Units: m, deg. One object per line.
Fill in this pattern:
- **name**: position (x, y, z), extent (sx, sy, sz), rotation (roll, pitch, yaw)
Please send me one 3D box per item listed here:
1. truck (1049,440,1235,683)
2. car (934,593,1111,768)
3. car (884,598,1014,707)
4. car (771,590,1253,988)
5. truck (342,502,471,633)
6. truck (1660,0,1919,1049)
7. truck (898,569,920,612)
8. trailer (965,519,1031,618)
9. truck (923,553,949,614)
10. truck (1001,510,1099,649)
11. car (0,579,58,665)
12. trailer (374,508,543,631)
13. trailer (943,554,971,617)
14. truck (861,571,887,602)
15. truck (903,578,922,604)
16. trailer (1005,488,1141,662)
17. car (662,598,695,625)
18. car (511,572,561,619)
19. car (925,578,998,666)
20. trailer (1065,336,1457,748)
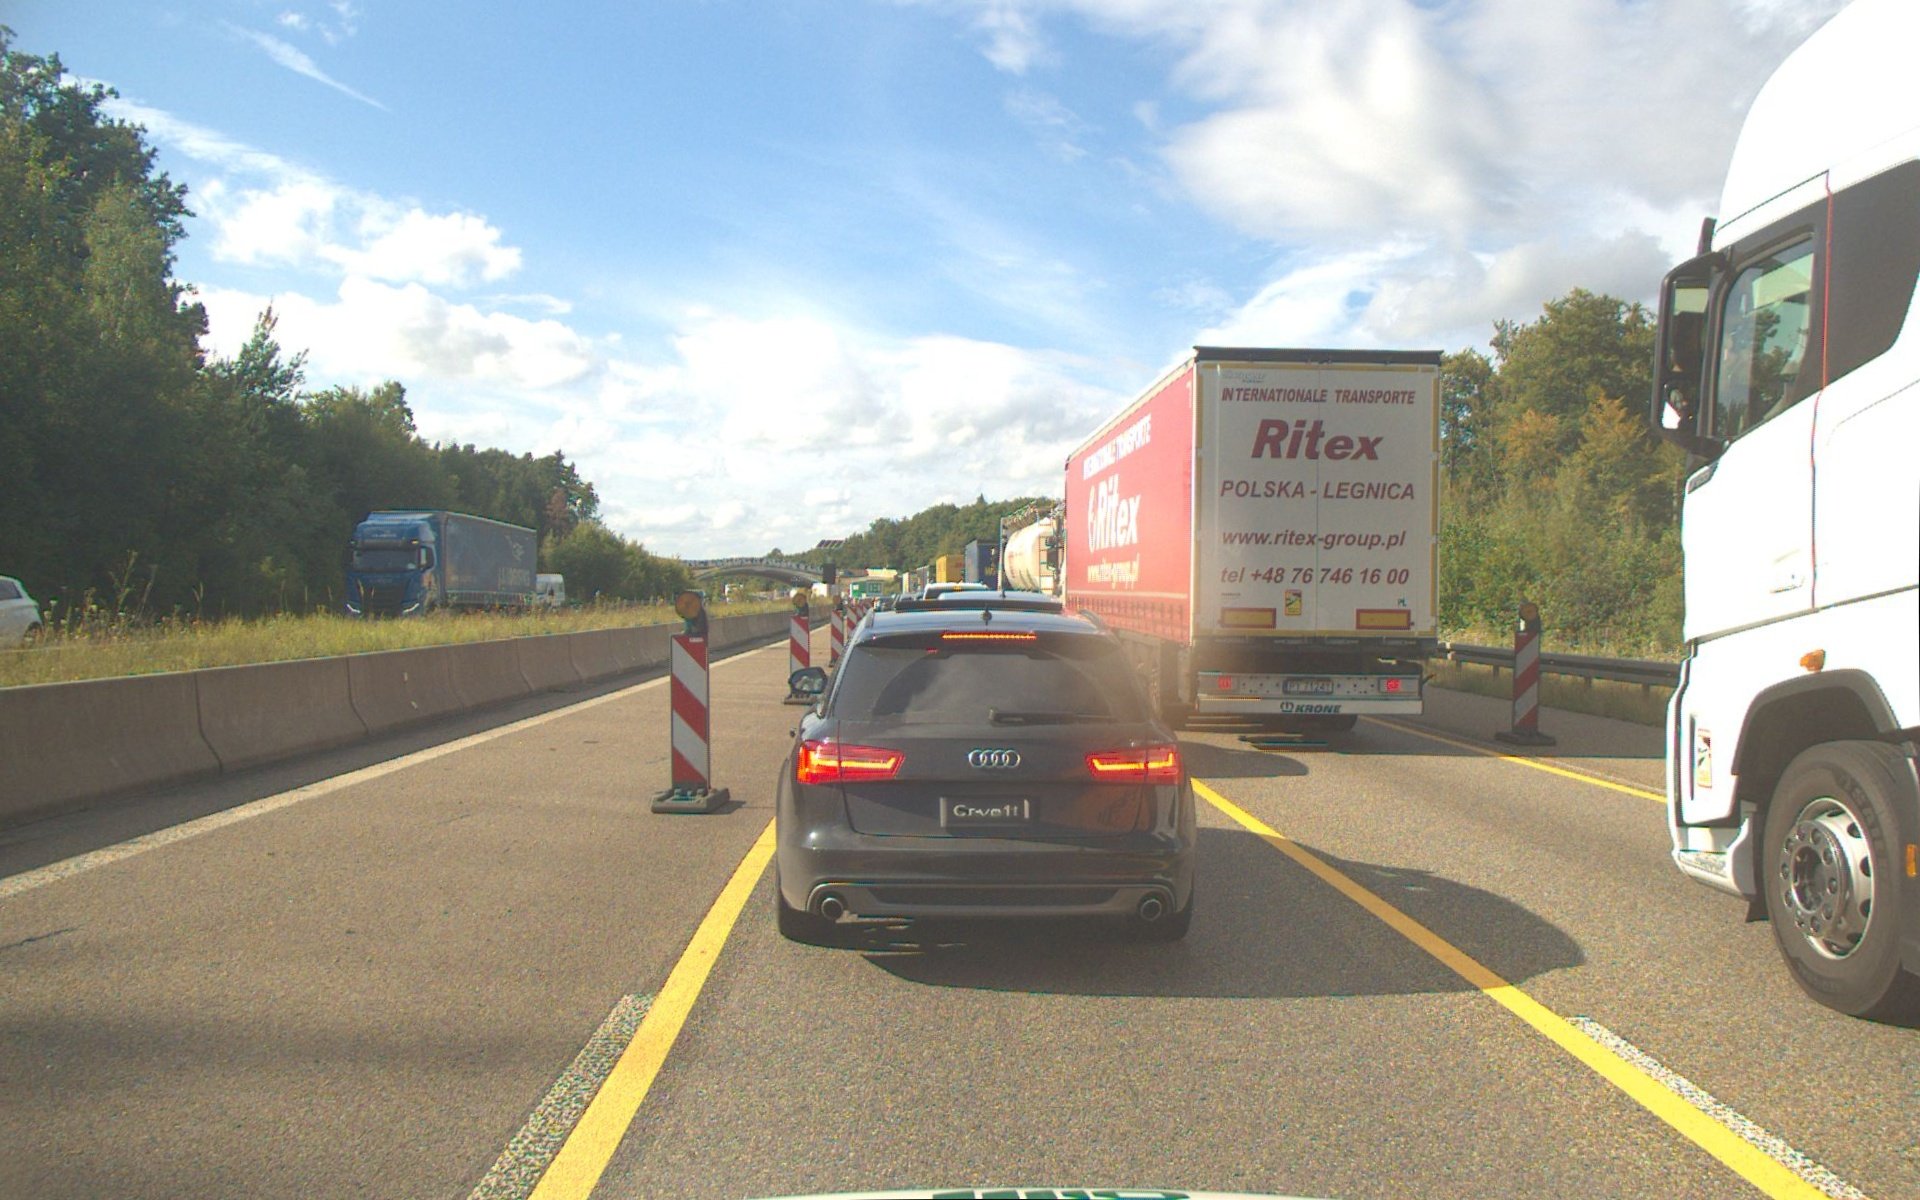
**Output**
- **truck**: position (3.207, -0.648, 30.563), extent (2.614, 4.029, 5.709), rotation (1, 0, -2)
- **car**: position (0.512, 0.698, 15.781), extent (1.493, 1.464, 3.284), rotation (1, 0, -1)
- **car**: position (-0.174, 0.715, 24.018), extent (1.716, 1.421, 3.607), rotation (1, 0, -1)
- **car**: position (0.171, 0.727, 8.243), extent (1.811, 1.489, 3.999), rotation (1, 0, -1)
- **truck**: position (-18.897, -1.066, 56.774), extent (2.584, 4.262, 5.466), rotation (1, 0, -1)
- **truck**: position (4.454, -0.420, 4.552), extent (2.444, 3.847, 5.788), rotation (1, 0, -2)
- **truck**: position (-5.286, -0.987, 172.883), extent (2.094, 4.332, 7.069), rotation (1, 0, -1)
- **trailer**: position (1.746, -1.399, 80.755), extent (2.748, 4.490, 10.430), rotation (1, 0, -1)
- **truck**: position (-2.061, -1.335, 140.986), extent (1.953, 5.000, 9.558), rotation (1, 0, -2)
- **truck**: position (2.724, -0.592, 51.653), extent (2.605, 4.041, 5.777), rotation (1, 0, -1)
- **car**: position (-18.460, 0.389, 30.227), extent (1.751, 1.588, 3.999), rotation (1, 0, -1)
- **trailer**: position (-19.009, -1.076, 63.848), extent (2.566, 4.214, 13.370), rotation (1, 0, -1)
- **trailer**: position (-0.228, -0.886, 107.733), extent (1.584, 3.987, 6.487), rotation (1, 0, -2)
- **truck**: position (-12.461, -1.906, 238.528), extent (3.240, 4.248, 9.689), rotation (1, 0, -6)
- **truck**: position (-6.885, -1.250, 238.211), extent (2.515, 3.527, 7.395), rotation (1, 0, -2)
- **trailer**: position (2.815, -0.587, 45.081), extent (2.590, 4.012, 12.595), rotation (1, 0, -1)
- **car**: position (-19.045, 0.786, 111.934), extent (1.680, 1.736, 3.522), rotation (1, 0, -1)
- **car**: position (-24.852, -0.251, 97.086), extent (2.208, 2.689, 5.010), rotation (1, 0, -8)
- **car**: position (0.020, 0.481, 37.385), extent (1.549, 1.869, 3.111), rotation (1, 0, -1)
- **trailer**: position (3.416, -0.585, 23.082), extent (2.645, 4.038, 13.413), rotation (1, 0, -1)
